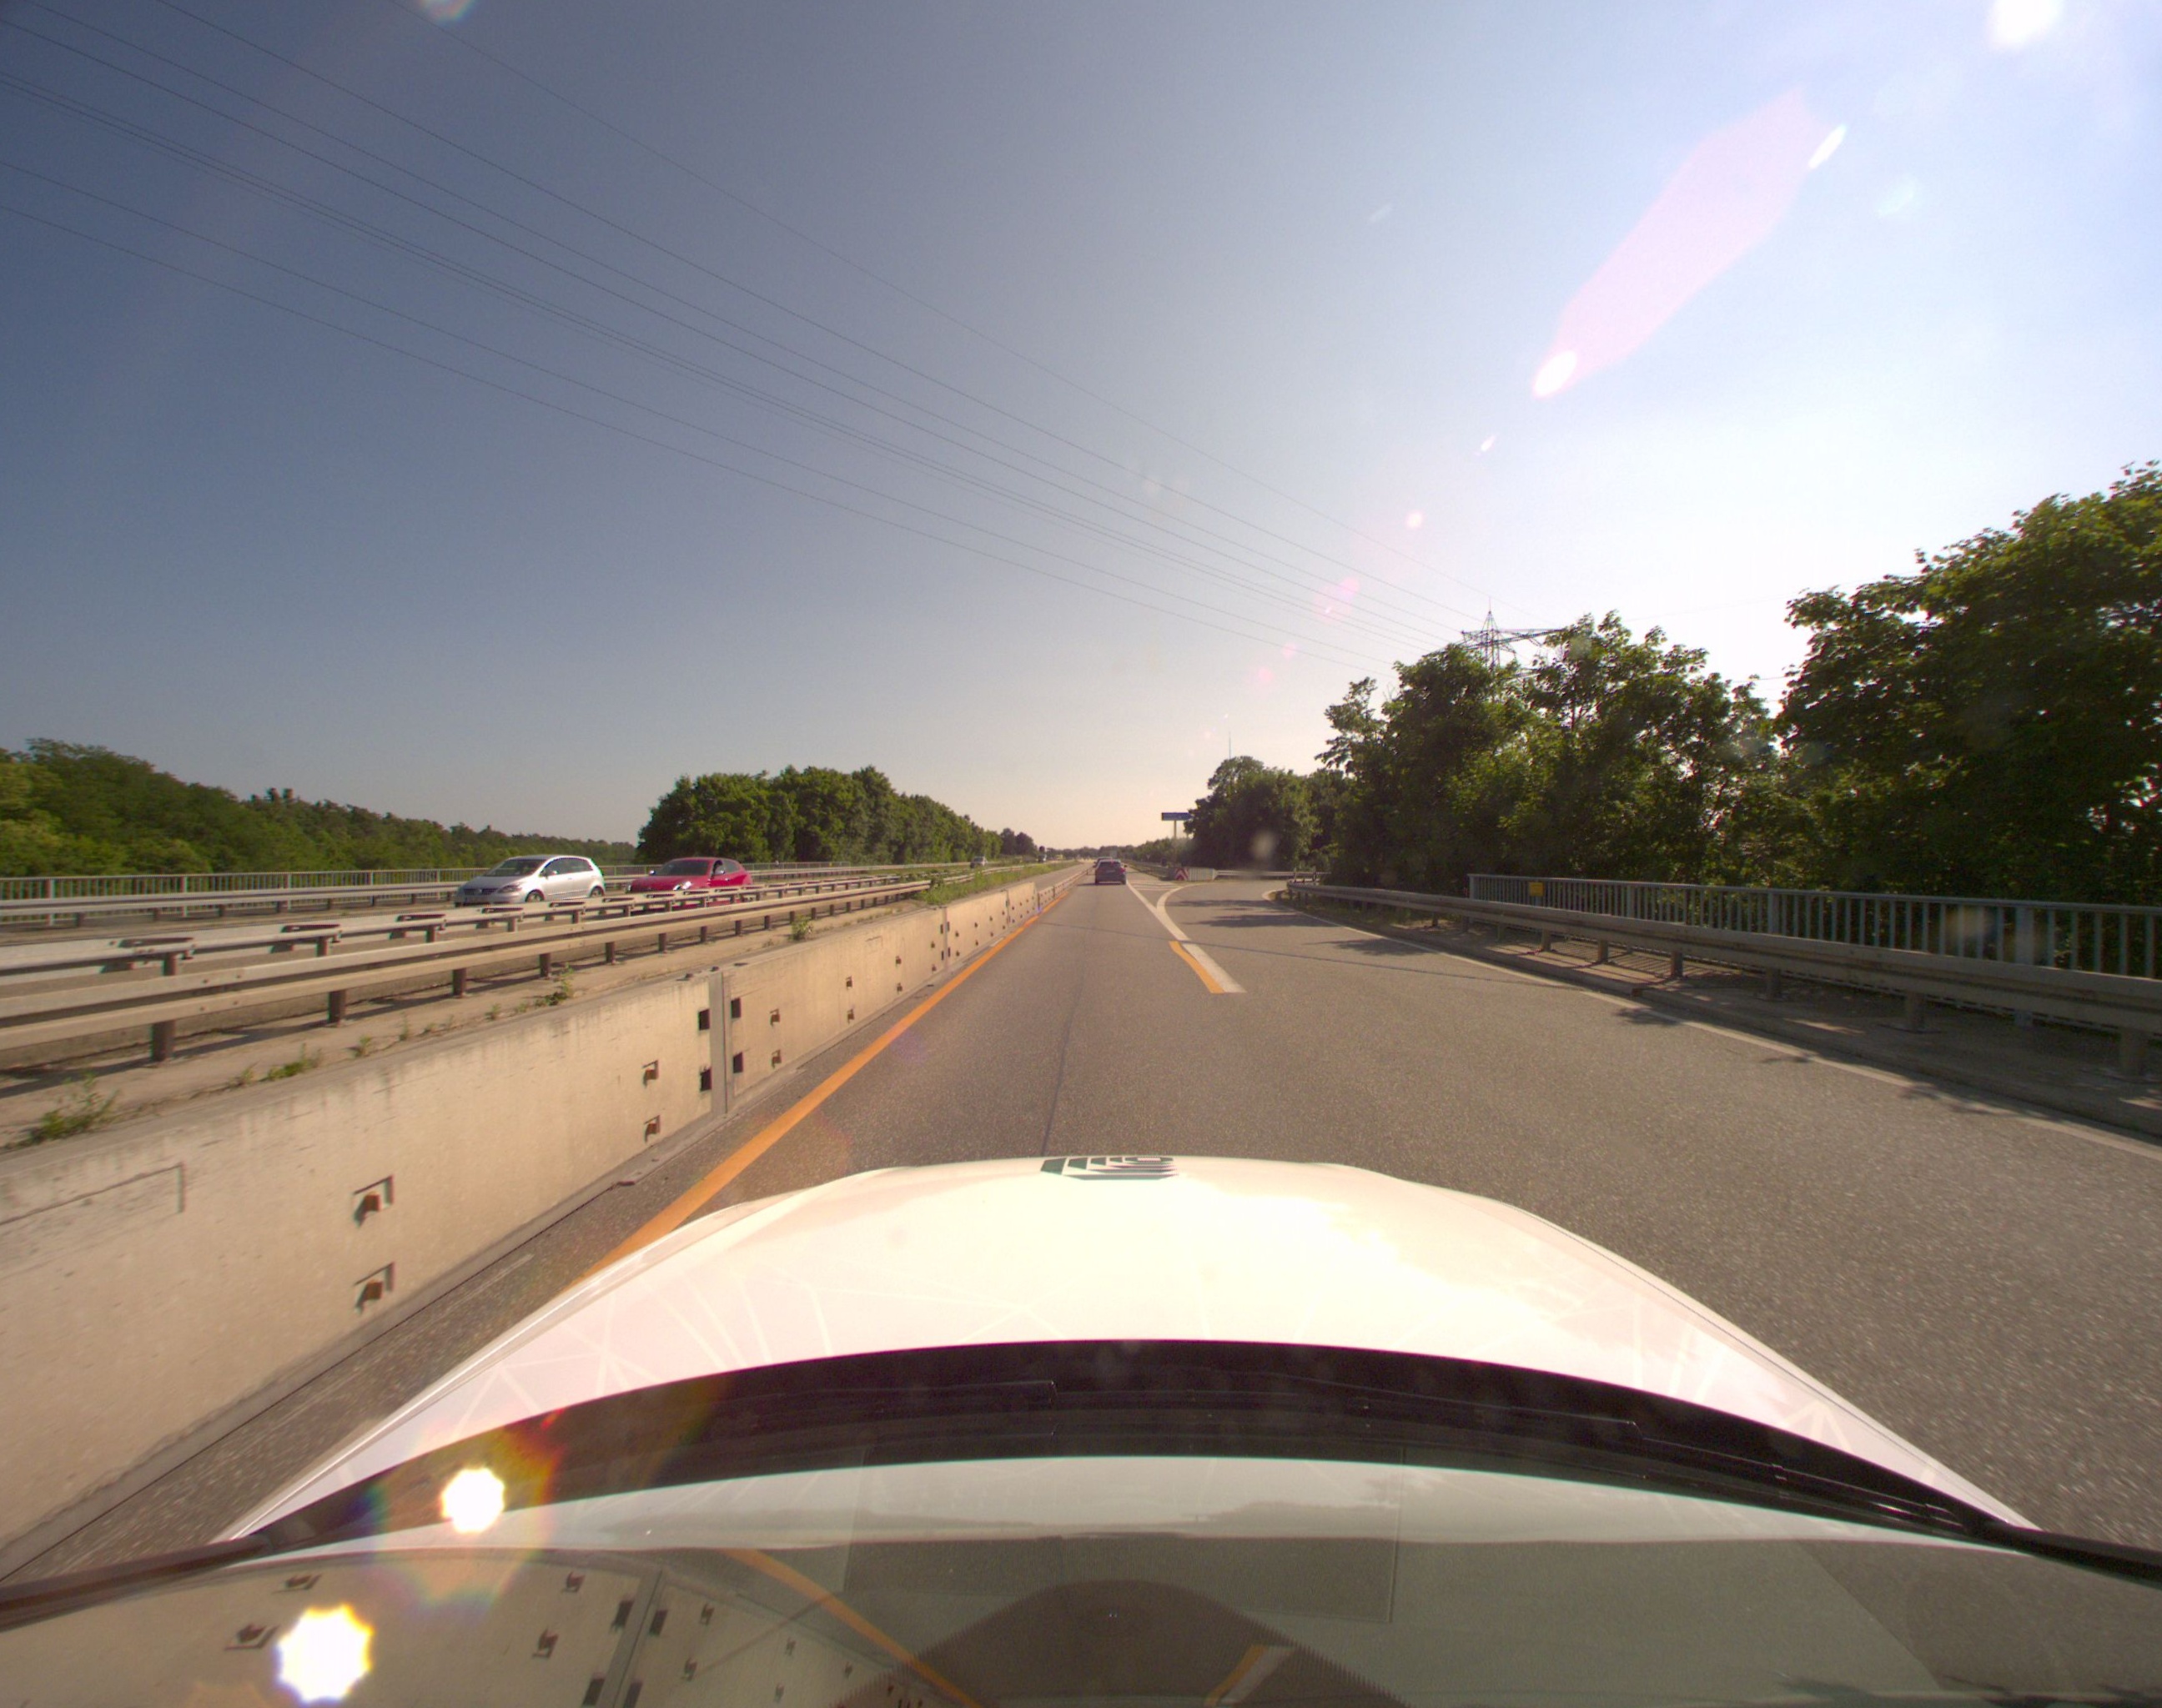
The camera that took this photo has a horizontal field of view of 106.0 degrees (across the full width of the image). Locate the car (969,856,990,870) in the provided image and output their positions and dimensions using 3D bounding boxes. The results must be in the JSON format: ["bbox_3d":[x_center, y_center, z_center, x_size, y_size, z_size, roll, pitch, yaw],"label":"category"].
[{"bbox_3d":[-12.154,1.016,97.716,1.756,1.583,4.424,-1,0,2],"label":"car"}]

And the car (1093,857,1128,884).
[{"bbox_3d":[1.675,0.913,47.612,1.914,1.494,4.000,0,0,0],"label":"car"}]

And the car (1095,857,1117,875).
[{"bbox_3d":[2.315,1.039,74.406,1.986,1.567,4.002,-1,0,2],"label":"car"}]

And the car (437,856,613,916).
[{"bbox_3d":[-14.731,0.785,21.898,1.771,1.393,4.127,-2,0,1],"label":"car"}]

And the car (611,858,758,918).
[{"bbox_3d":[-10.197,0.802,21.325,1.708,1.397,4.222,-1,0,1],"label":"car"}]

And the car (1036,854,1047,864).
[{"bbox_3d":[-8.106,1.021,167.305,1.986,2.034,5.170,-1,0,2],"label":"car"}]
